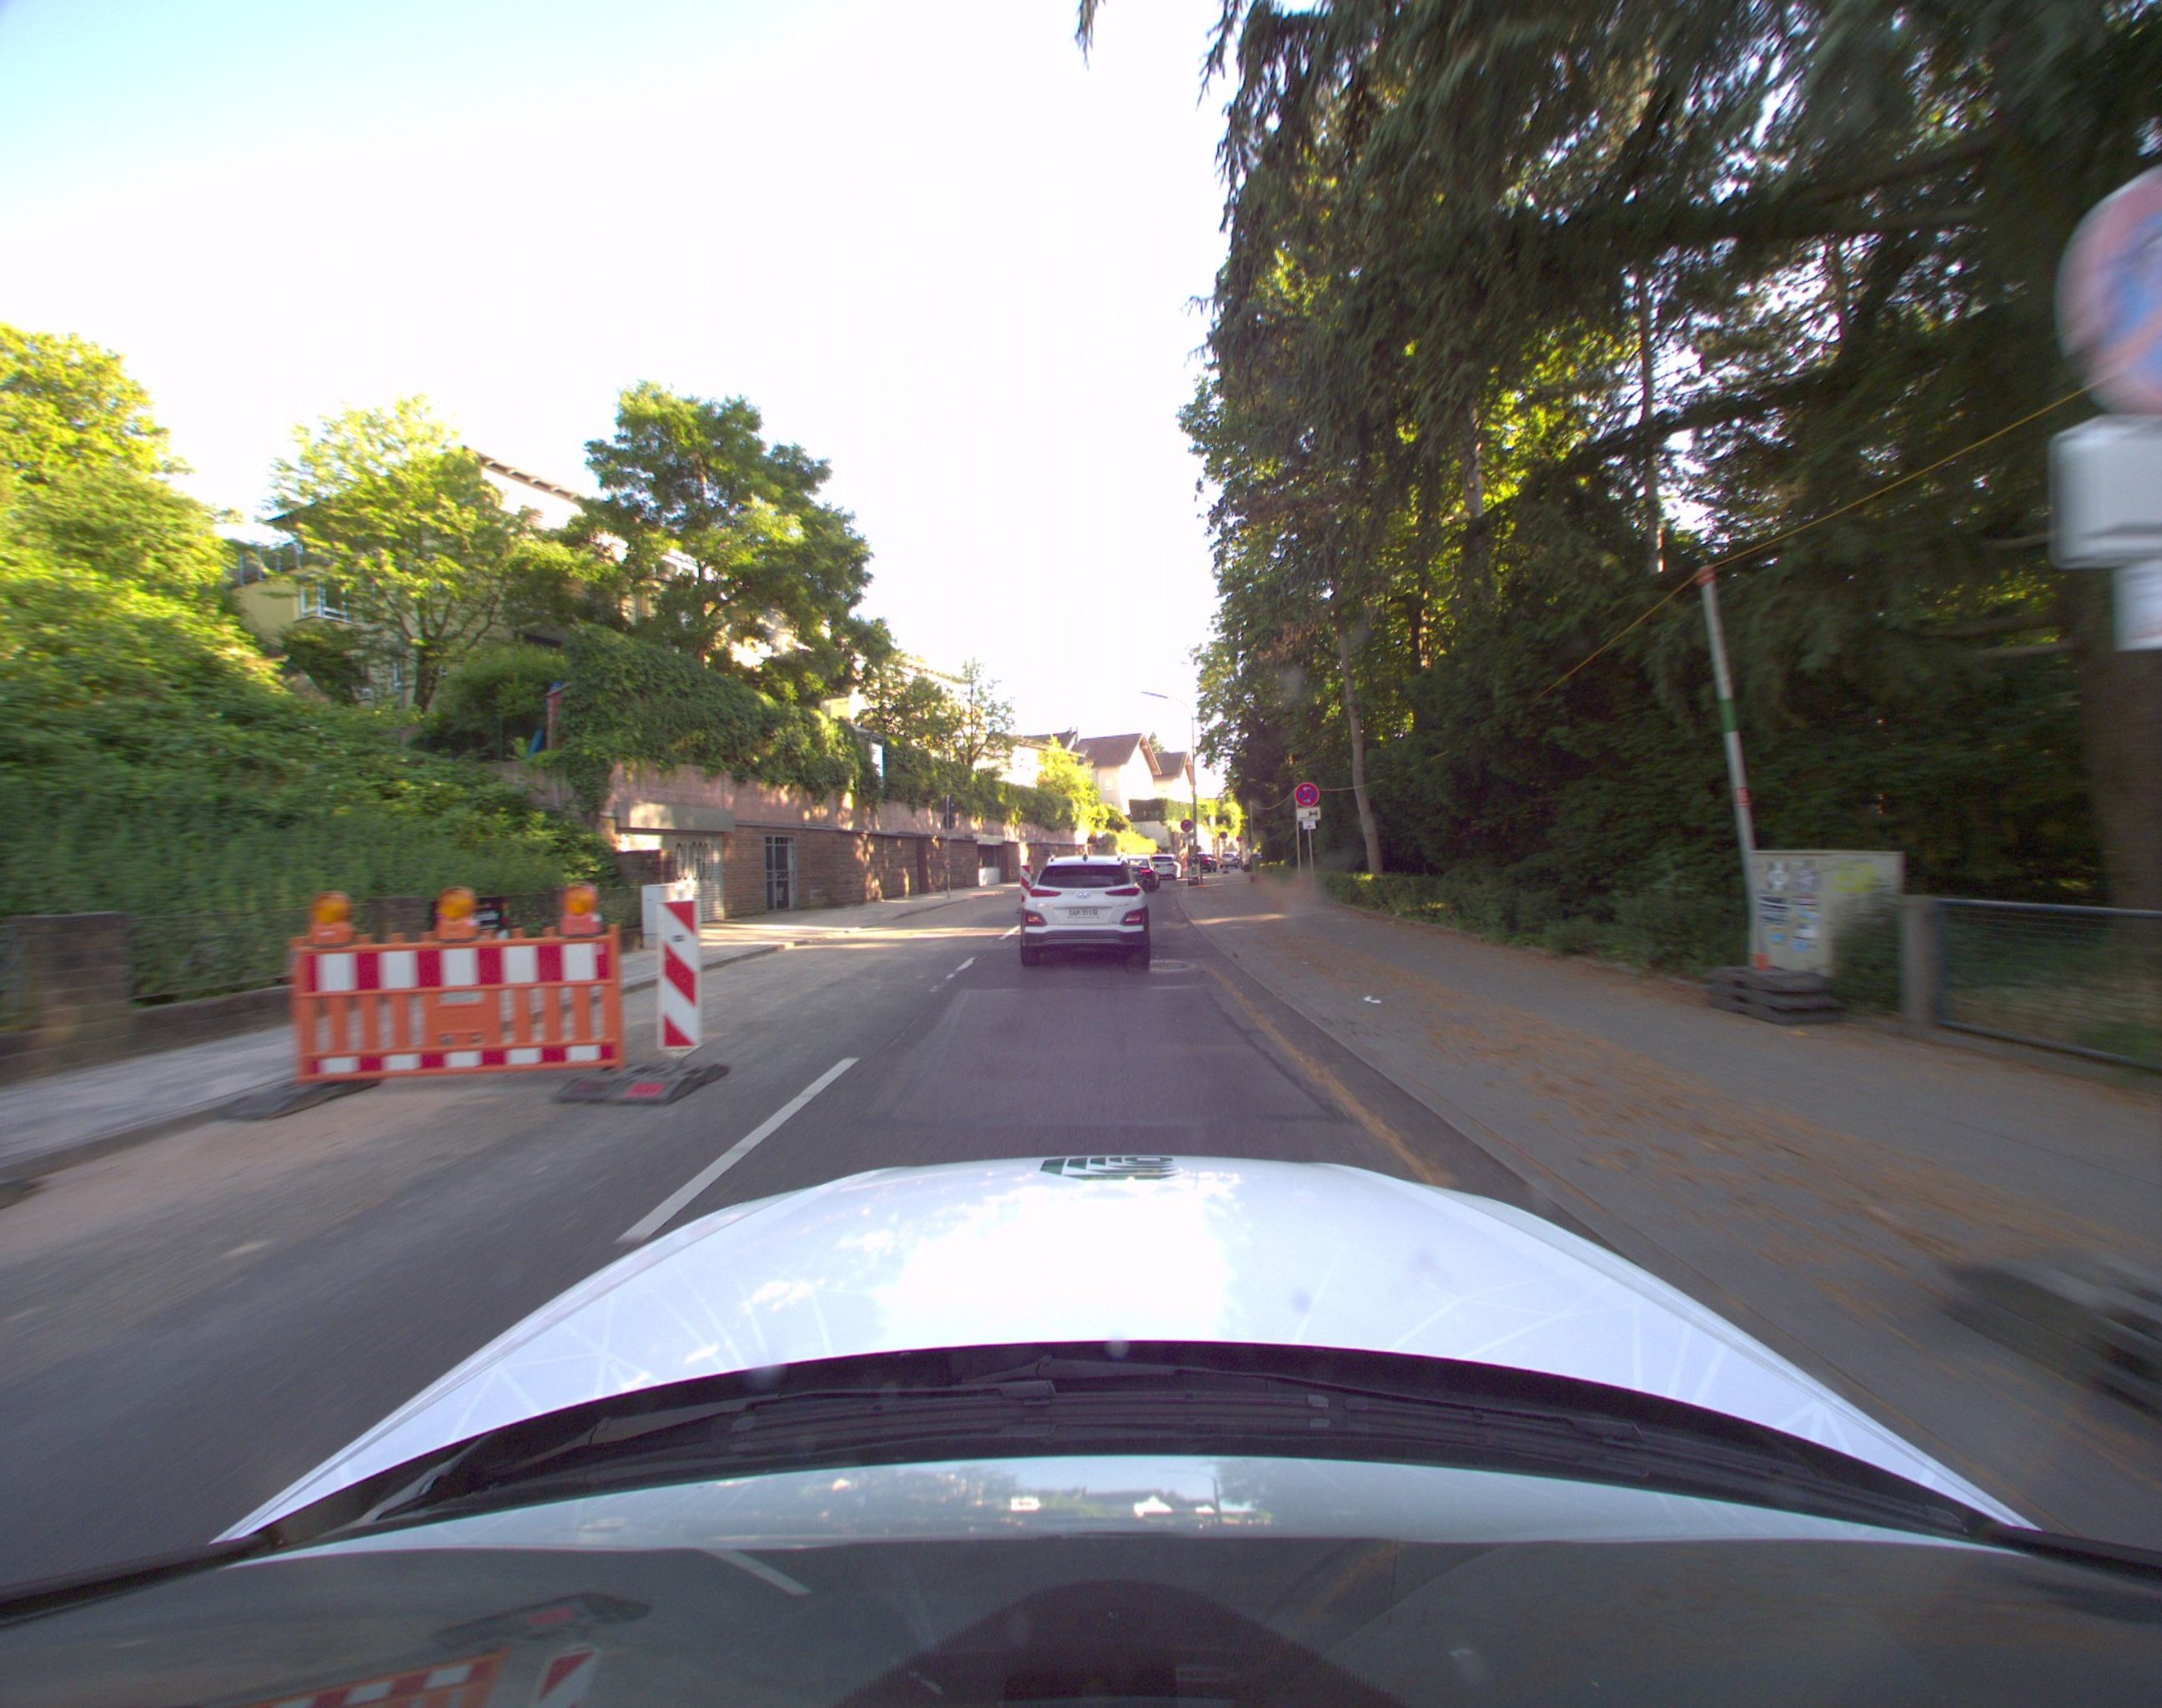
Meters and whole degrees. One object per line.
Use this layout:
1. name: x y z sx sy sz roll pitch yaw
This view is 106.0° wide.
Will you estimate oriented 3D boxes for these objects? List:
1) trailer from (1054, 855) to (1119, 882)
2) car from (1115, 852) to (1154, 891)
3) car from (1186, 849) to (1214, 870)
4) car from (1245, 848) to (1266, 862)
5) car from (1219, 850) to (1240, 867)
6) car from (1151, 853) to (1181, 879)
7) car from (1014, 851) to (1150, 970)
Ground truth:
1. trailer: 0.465 0.819 49.632 2.622 1.489 7.141 -1 0 12
2. car: 2.221 0.705 34.440 1.506 1.533 3.550 -2 0 3
3. car: 9.762 0.436 66.439 1.681 1.533 3.897 -5 -1 15
4. car: 20.579 0.109 95.898 1.679 1.504 3.650 -5 -1 22
5. car: 14.765 0.448 80.844 1.681 1.447 3.897 -5 -1 15
6. car: 5.202 0.710 49.620 1.561 1.477 3.557 -1 0 9
7. car: 0.071 0.748 12.783 1.765 1.542 4.001 -1 0 1
